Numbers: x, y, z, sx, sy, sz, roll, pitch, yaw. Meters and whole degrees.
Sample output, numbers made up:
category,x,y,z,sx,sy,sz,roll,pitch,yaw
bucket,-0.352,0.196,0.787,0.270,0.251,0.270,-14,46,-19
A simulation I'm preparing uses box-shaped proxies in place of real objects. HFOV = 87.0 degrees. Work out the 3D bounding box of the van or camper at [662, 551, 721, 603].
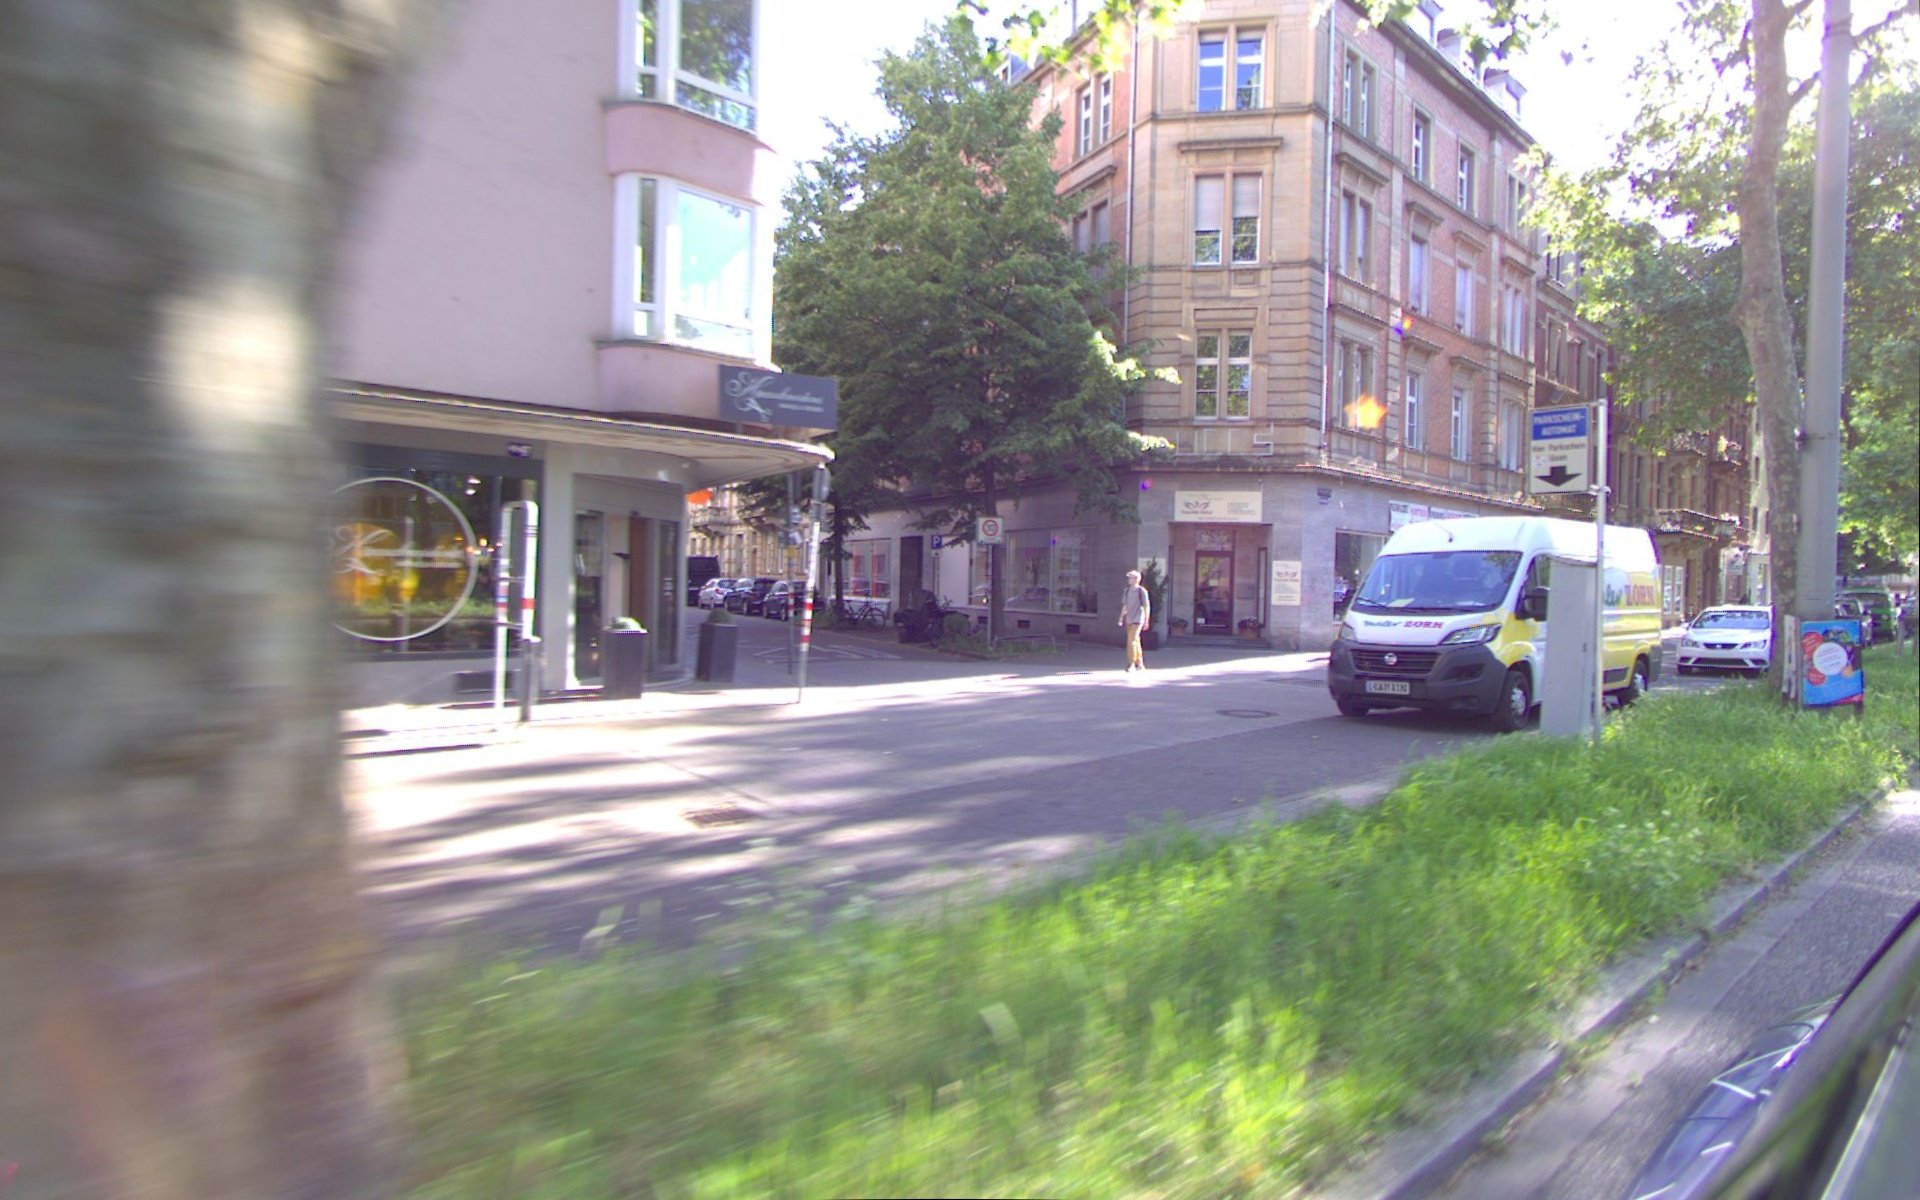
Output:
category,x,y,z,sx,sy,sz,roll,pitch,yaw
van or camper,-14.185,-1.225,53.190,1.986,2.555,5.324,1,1,-26

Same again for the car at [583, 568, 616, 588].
category,x,y,z,sx,sy,sz,roll,pitch,yaw
car,-29.095,-1.779,81.629,1.946,1.498,4.115,1,1,-27

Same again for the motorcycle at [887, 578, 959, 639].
category,x,y,z,sx,sy,sz,roll,pitch,yaw
motorcycle,-0.972,0.189,27.949,1.097,1.535,3.726,2,1,12

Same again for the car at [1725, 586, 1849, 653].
category,x,y,z,sx,sy,sz,roll,pitch,yaw
car,20.293,0.447,24.778,4.113,1.516,1.755,0,-1,-43

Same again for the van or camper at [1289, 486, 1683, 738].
category,x,y,z,sx,sy,sz,roll,pitch,yaw
van or camper,6.904,0.108,12.873,6.156,2.512,2.188,0,-1,-39

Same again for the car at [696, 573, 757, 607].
category,x,y,z,sx,sy,sz,roll,pitch,yaw
car,-11.013,-0.489,47.492,1.946,1.498,4.116,1,1,-25

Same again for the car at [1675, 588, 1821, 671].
category,x,y,z,sx,sy,sz,roll,pitch,yaw
car,16.752,0.580,21.447,4.113,1.592,1.755,0,-1,-43

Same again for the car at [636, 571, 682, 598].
category,x,y,z,sx,sy,sz,roll,pitch,yaw
car,-18.280,-0.954,61.340,1.946,1.498,4.115,1,1,-28

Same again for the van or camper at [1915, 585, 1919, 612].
category,x,y,z,sx,sy,sz,roll,pitch,yaw
van or camper,84.761,-0.110,87.860,5.724,2.315,2.294,0,1,-43

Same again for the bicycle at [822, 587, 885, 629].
category,x,y,z,sx,sy,sz,roll,pitch,yaw
bicycle,-3.245,0.225,30.796,1.804,1.217,0.611,1,1,10

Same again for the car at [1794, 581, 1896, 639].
category,x,y,z,sx,sy,sz,roll,pitch,yaw
car,27.489,0.299,31.381,4.720,1.668,1.892,0,-1,-43

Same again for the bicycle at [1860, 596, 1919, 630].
category,x,y,z,sx,sy,sz,roll,pitch,yaw
bicycle,37.786,0.510,40.809,2.160,1.310,0.969,0,0,39

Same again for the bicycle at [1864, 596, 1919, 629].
category,x,y,z,sx,sy,sz,roll,pitch,yaw
bicycle,38.726,0.492,41.657,0.966,1.310,2.167,0,0,-41

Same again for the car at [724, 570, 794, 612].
category,x,y,z,sx,sy,sz,roll,pitch,yaw
car,-8.555,-0.407,42.852,1.946,1.669,4.116,1,1,-25

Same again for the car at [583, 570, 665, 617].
category,x,y,z,sx,sy,sz,roll,pitch,yaw
car,-11.829,-0.258,35.444,1.959,1.549,4.286,1,1,-29

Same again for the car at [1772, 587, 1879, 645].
category,x,y,z,sx,sy,sz,roll,pitch,yaw
car,23.827,0.408,27.821,4.292,1.483,1.738,0,-1,-43

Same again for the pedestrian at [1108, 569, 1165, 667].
category,x,y,z,sx,sy,sz,roll,pitch,yaw
pedestrian,3.171,0.304,18.159,0.739,1.705,0.692,0,1,-41

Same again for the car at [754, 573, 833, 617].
category,x,y,z,sx,sy,sz,roll,pitch,yaw
car,-6.482,-0.220,39.019,1.946,1.557,4.116,1,1,-25

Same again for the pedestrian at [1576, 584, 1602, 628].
category,x,y,z,sx,sy,sz,roll,pitch,yaw
pedestrian,22.839,0.192,36.738,0.682,1.566,0.648,0,1,-43

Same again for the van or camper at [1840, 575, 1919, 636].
category,x,y,z,sx,sy,sz,roll,pitch,yaw
van or camper,34.344,0.206,37.755,4.695,2.125,1.835,0,-1,-44
